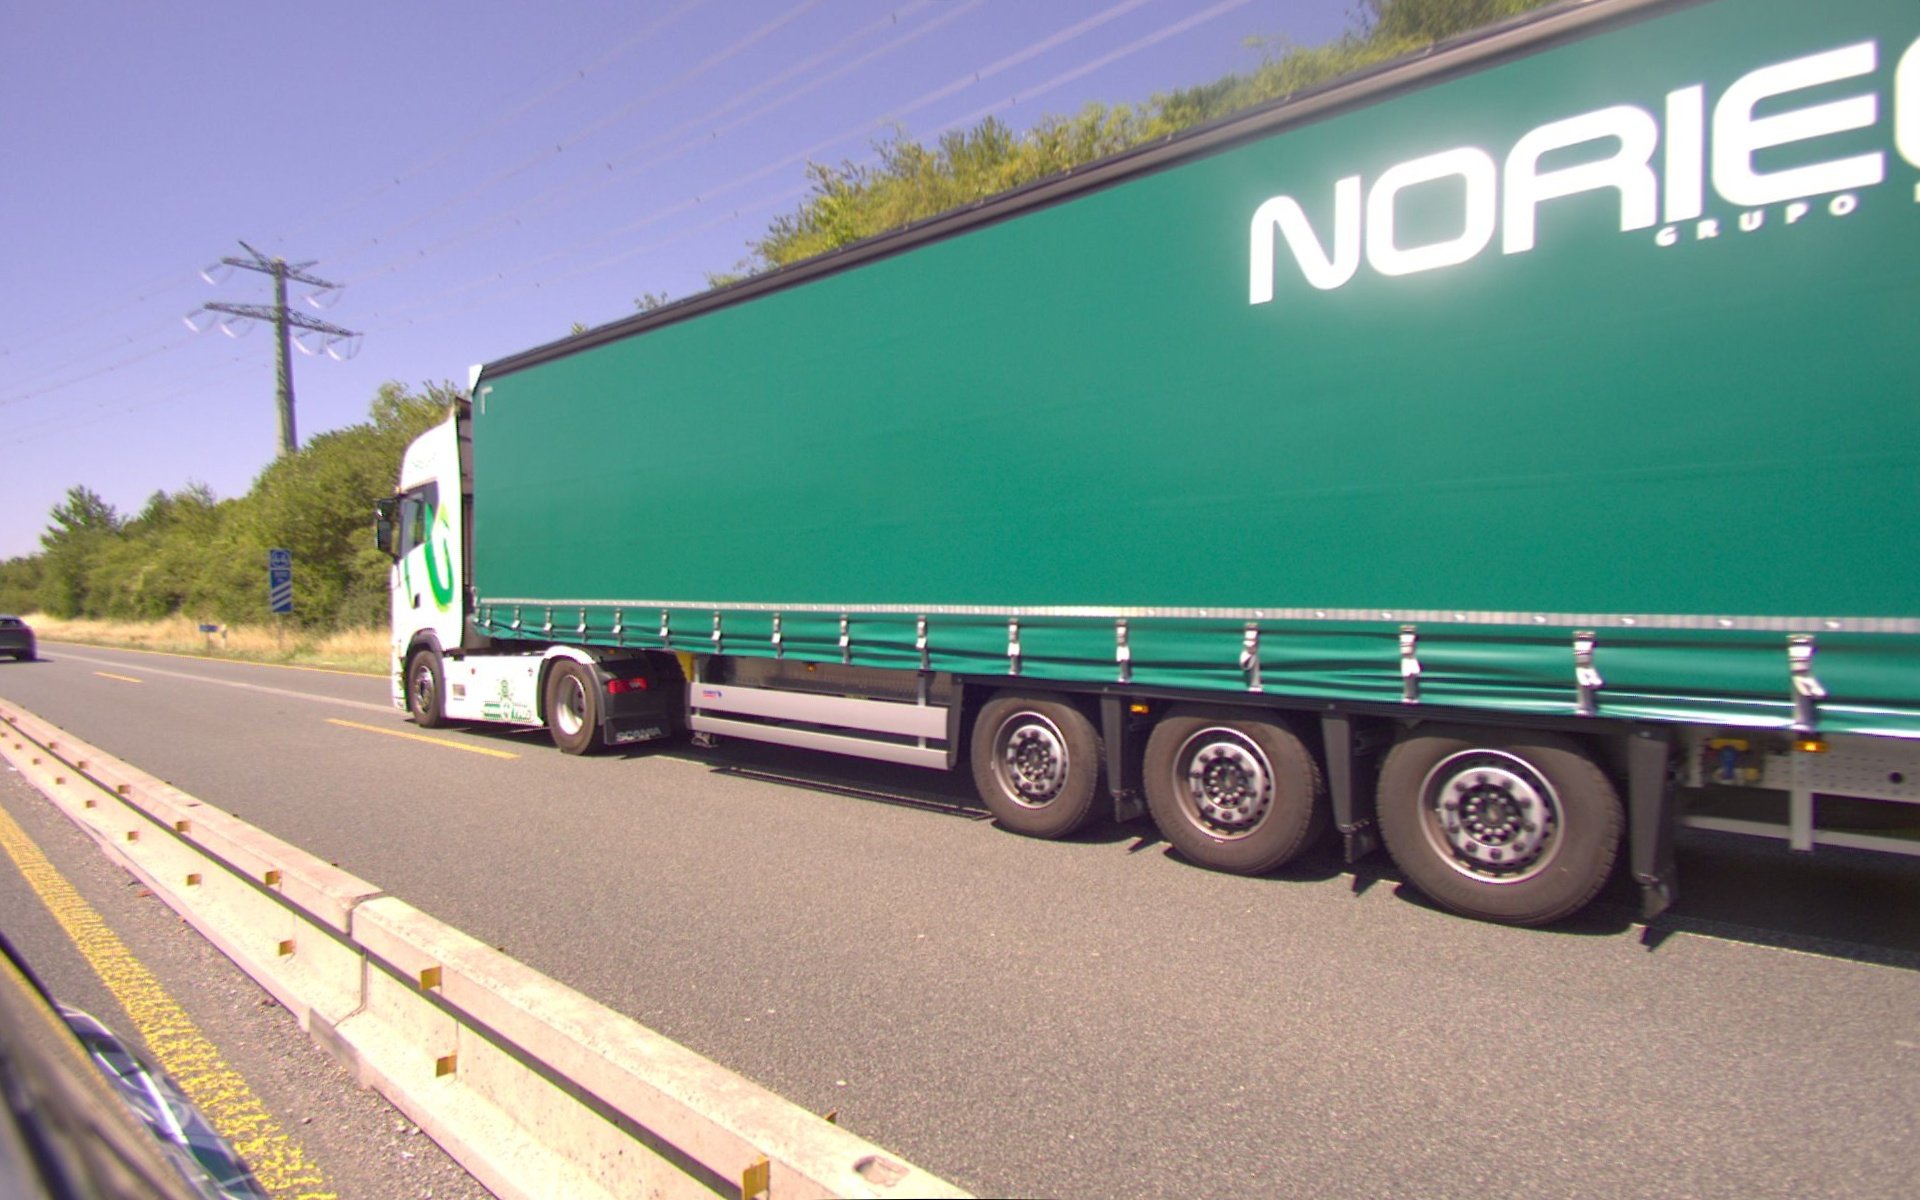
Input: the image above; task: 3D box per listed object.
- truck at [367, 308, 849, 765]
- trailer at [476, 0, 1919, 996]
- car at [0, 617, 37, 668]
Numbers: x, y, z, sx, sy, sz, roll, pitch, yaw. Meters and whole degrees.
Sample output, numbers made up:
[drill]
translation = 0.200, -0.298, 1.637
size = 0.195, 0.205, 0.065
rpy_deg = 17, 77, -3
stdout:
[truck]
translation = -4.479, -0.563, 12.267
size = 6.017, 4.149, 2.865
rpy_deg = -1, 0, 41
[trailer]
translation = 0.601, -0.643, 7.820
size = 13.238, 4.156, 2.861
rpy_deg = -1, 0, 41
[car]
translation = -30.752, 1.316, 32.036
size = 4.275, 1.516, 1.879
rpy_deg = -1, 0, 42
